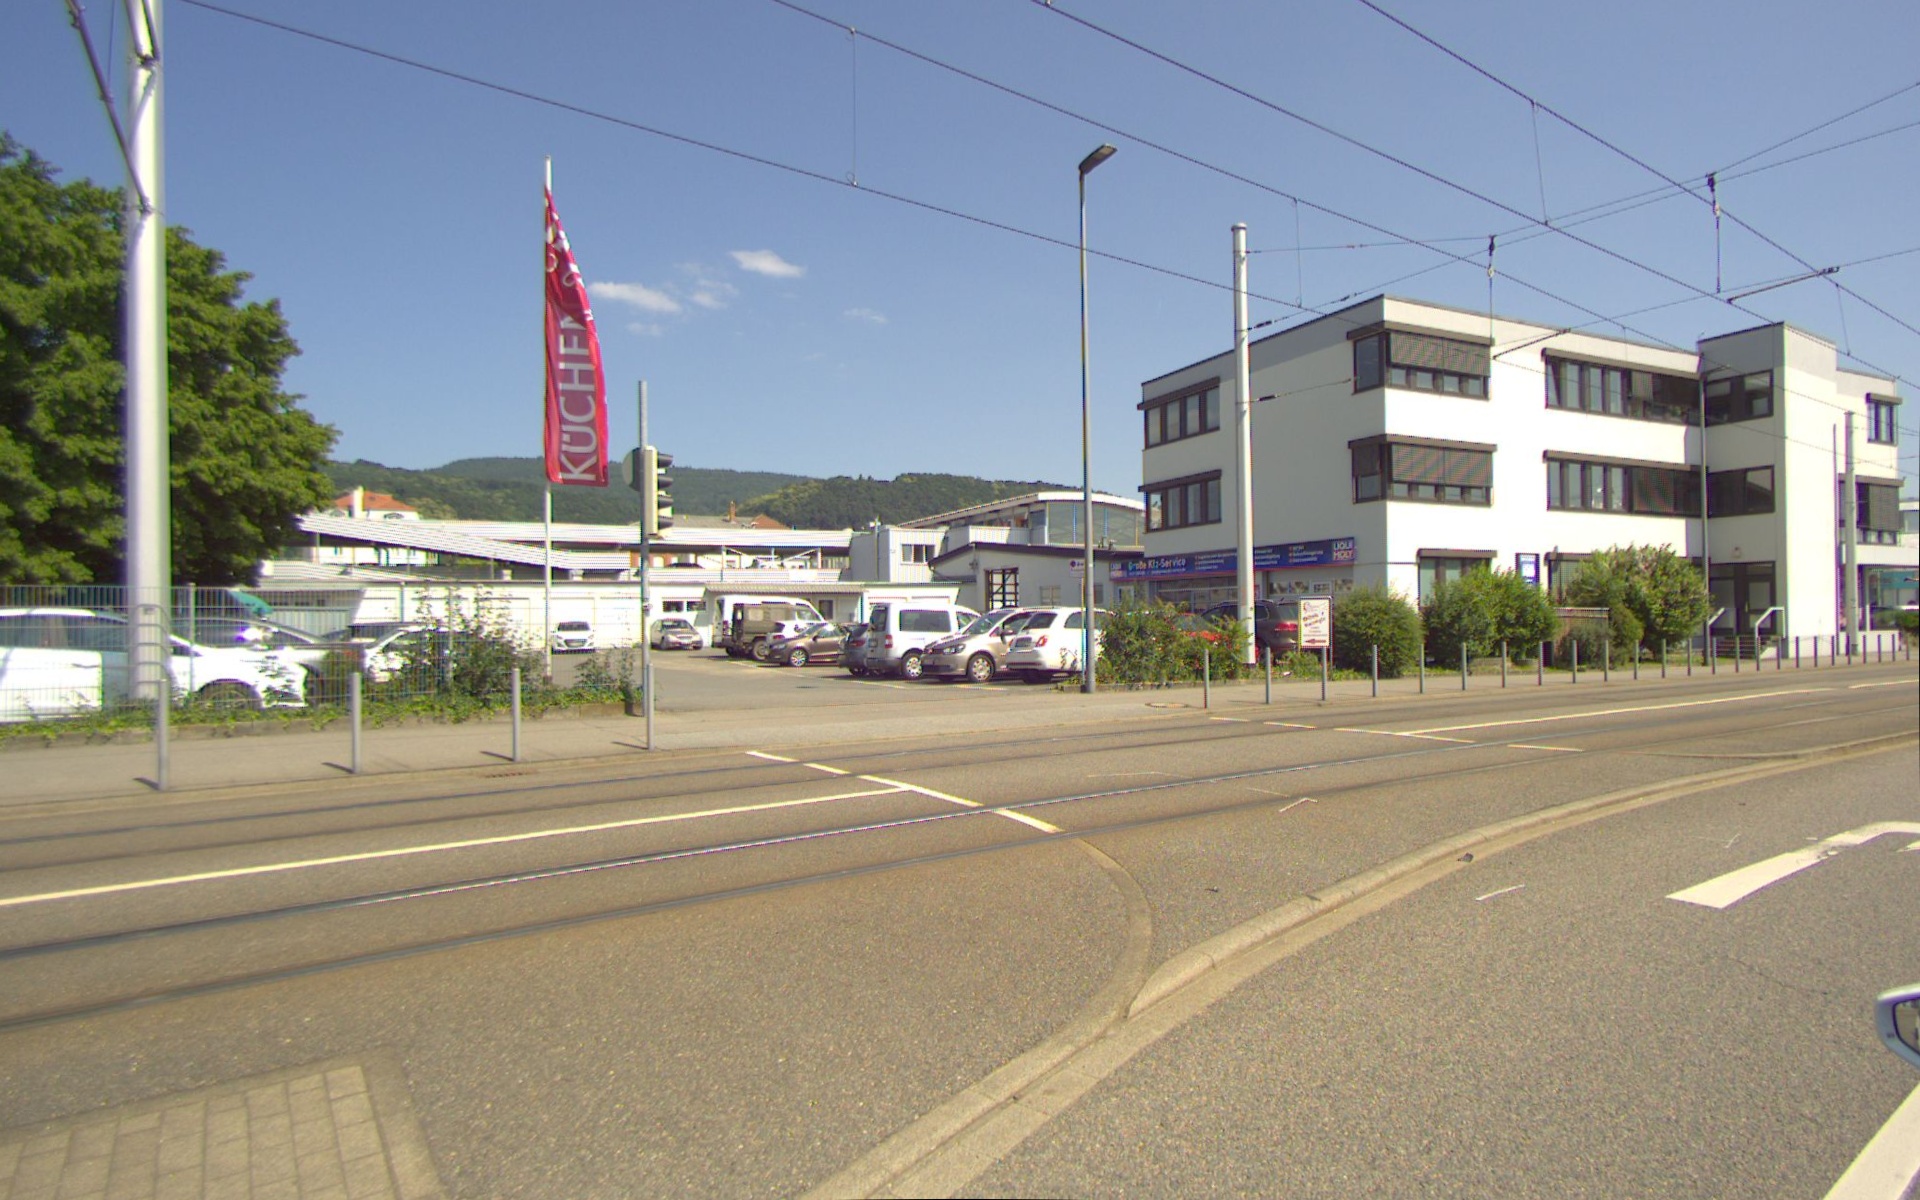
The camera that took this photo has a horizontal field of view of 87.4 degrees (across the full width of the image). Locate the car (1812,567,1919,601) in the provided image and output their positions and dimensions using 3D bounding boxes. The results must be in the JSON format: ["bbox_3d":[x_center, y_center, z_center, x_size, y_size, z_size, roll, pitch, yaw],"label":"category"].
[{"bbox_3d":[44.547,-0.788,49.106,1.975,1.539,3.970,-2,0,-29],"label":"car"}]

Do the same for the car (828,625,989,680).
[{"bbox_3d":[-1.385,1.357,26.902,3.946,1.376,1.836,0,-1,-25],"label":"car"}]

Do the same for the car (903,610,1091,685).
[{"bbox_3d":[0.843,1.033,22.833,3.882,1.588,1.845,0,-1,-26],"label":"car"}]

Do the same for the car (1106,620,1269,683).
[{"bbox_3d":[5.342,1.170,24.027,1.727,1.388,3.807,0,-1,-29],"label":"car"}]

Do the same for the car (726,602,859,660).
[{"bbox_3d":[-6.246,1.138,37.463,4.521,2.040,2.044,0,-1,-27],"label":"car"}]

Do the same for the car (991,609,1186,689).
[{"bbox_3d":[2.715,0.987,21.227,3.786,1.562,1.730,0,-1,-26],"label":"car"}]

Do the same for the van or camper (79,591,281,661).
[{"bbox_3d":[-23.845,0.783,30.969,4.584,2.034,1.986,0,-1,-27],"label":"van or camper"}]

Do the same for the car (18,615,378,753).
[{"bbox_3d":[-10.667,1.101,14.452,3.784,1.643,1.758,-1,0,-26],"label":"car"}]

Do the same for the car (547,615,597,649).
[{"bbox_3d":[-17.416,1.449,45.125,1.971,1.435,3.980,2,-2,-21],"label":"car"}]

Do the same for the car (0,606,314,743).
[{"bbox_3d":[-9.945,0.814,11.830,3.913,1.452,1.697,1,-1,-34],"label":"car"}]

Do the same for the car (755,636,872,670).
[{"bbox_3d":[-4.763,1.705,32.718,3.440,0.996,1.739,0,-1,-25],"label":"car"}]

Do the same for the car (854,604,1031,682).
[{"bbox_3d":[-0.448,1.022,24.869,3.946,1.808,1.988,0,-1,-25],"label":"car"}]

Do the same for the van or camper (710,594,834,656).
[{"bbox_3d":[-7.432,0.991,39.781,4.543,2.336,1.769,0,-1,-27],"label":"van or camper"}]

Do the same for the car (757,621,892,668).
[{"bbox_3d":[-4.799,1.534,35.606,4.368,1.578,1.979,0,-2,-27],"label":"car"}]

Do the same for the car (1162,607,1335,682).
[{"bbox_3d":[7.185,1.091,25.379,1.977,1.728,3.968,1,-2,-30],"label":"car"}]

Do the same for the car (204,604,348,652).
[{"bbox_3d":[-23.369,0.949,34.523,3.954,1.576,1.984,0,-1,-31],"label":"car"}]

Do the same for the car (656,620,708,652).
[{"bbox_3d":[-13.114,1.650,47.247,1.971,1.435,3.980,0,-1,-21],"label":"car"}]

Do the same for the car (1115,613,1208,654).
[{"bbox_3d":[7.410,1.208,36.957,3.085,1.445,1.415,0,-1,-21],"label":"car"}]

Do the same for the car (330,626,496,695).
[{"bbox_3d":[-12.905,1.377,23.739,3.354,1.504,1.504,1,-1,-34],"label":"car"}]
